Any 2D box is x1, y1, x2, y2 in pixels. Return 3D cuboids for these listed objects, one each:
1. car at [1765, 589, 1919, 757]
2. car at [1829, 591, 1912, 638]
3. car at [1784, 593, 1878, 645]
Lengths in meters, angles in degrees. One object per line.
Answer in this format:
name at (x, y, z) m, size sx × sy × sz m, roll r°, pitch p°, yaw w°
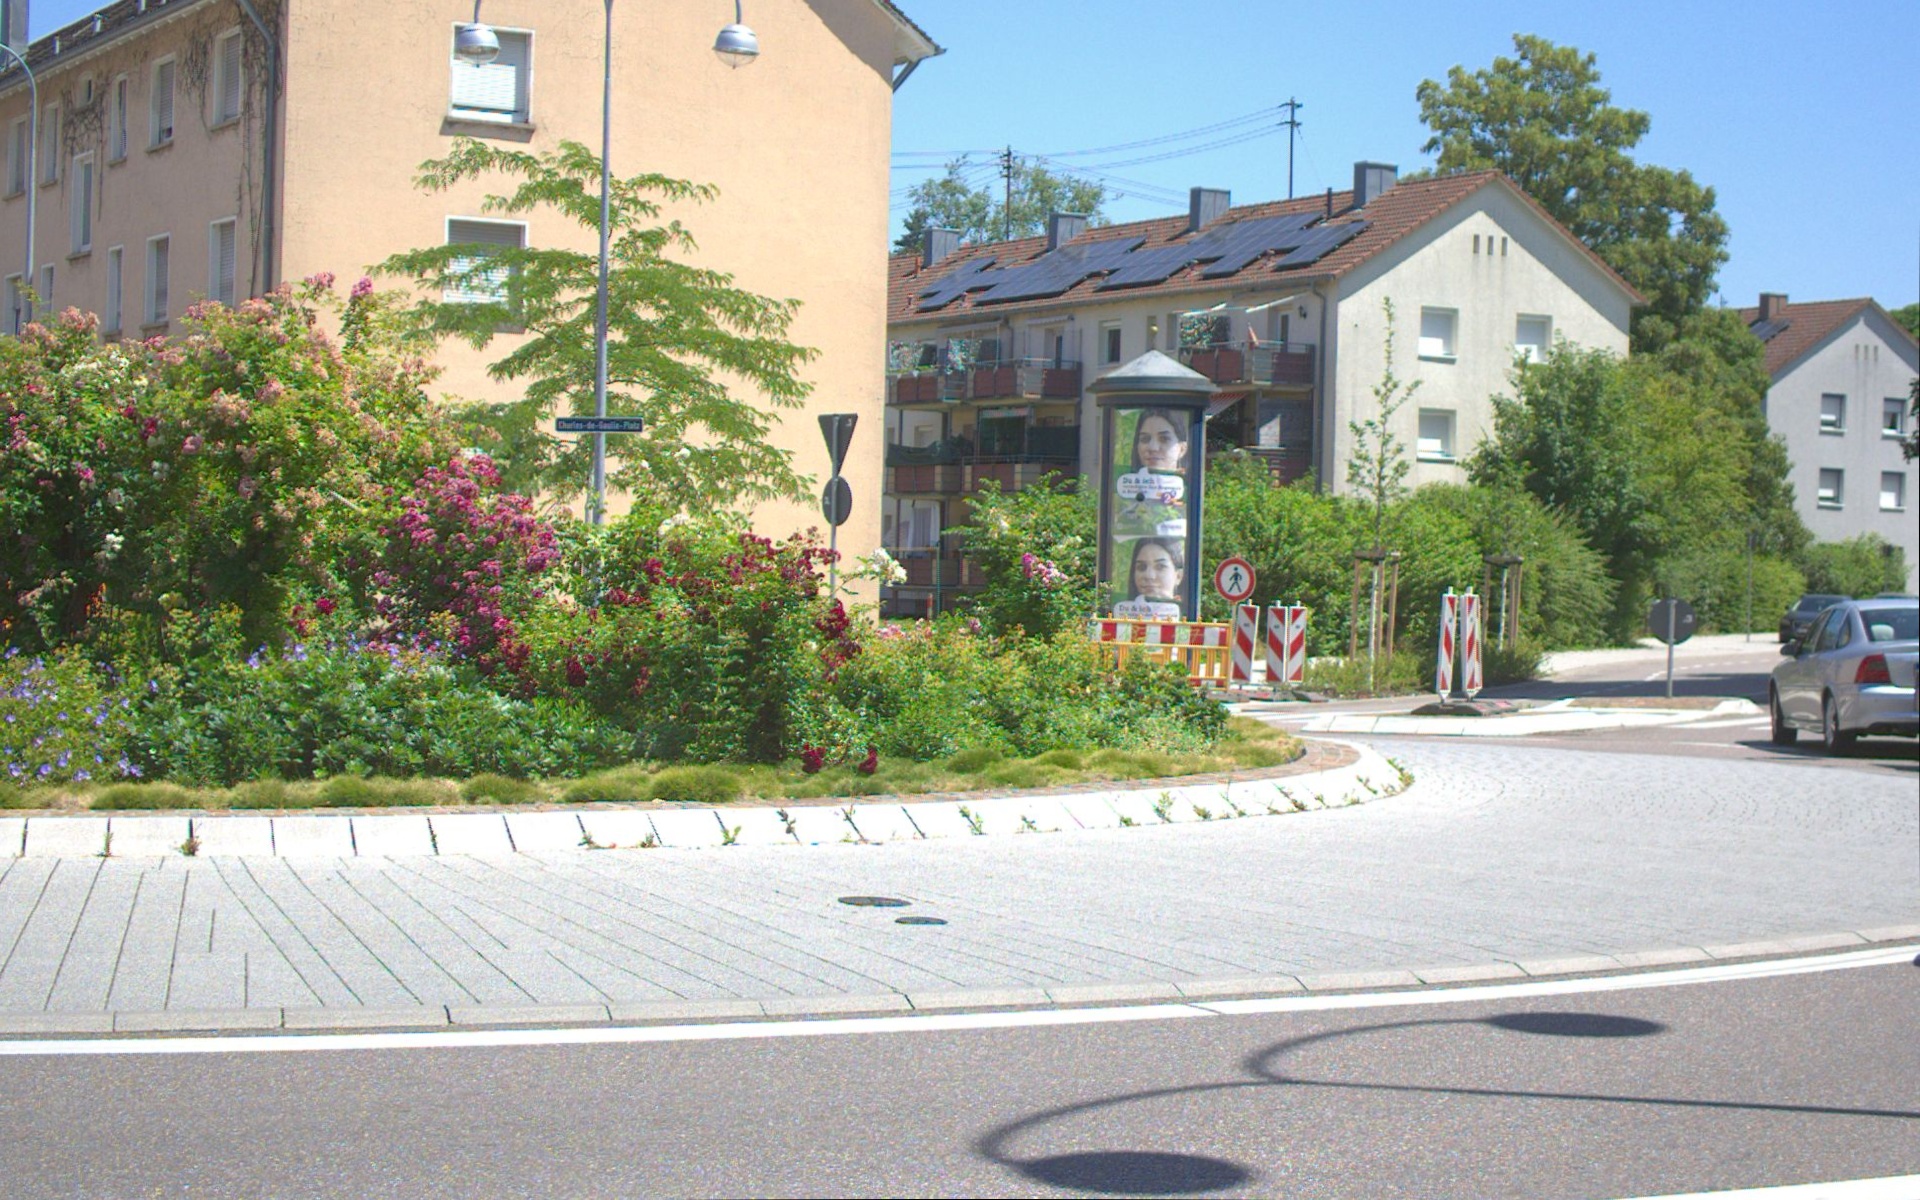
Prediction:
car at (8.582, 0.617, 31.232) m, size 1.739 × 1.431 × 3.710 m, roll 0°, pitch 0°, yaw 1°
car at (28.855, 0.445, 108.881) m, size 1.741 × 1.431 × 3.705 m, roll 0°, pitch 0°, yaw 28°
car at (24.593, 0.522, 97.023) m, size 1.741 × 1.431 × 3.705 m, roll 0°, pitch 0°, yaw 28°
